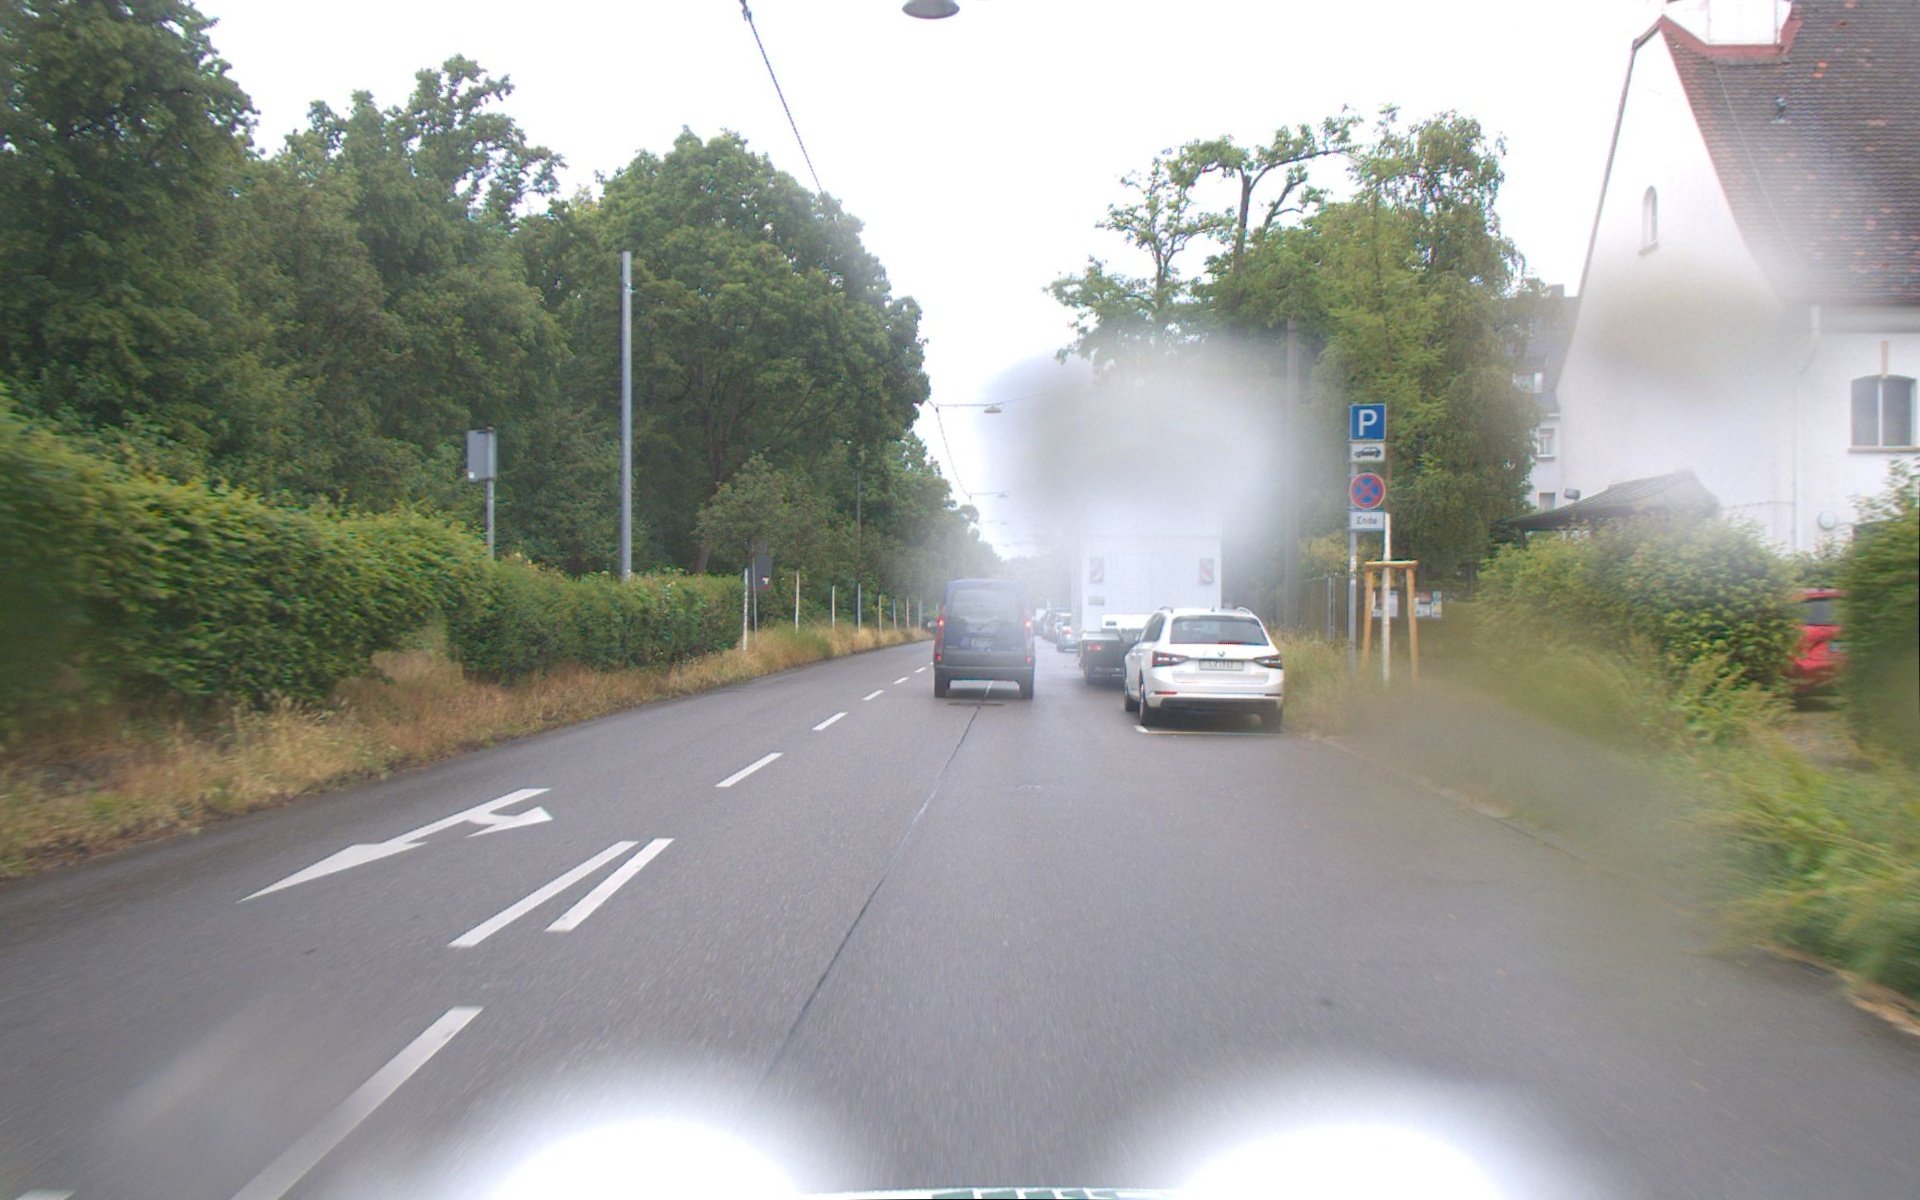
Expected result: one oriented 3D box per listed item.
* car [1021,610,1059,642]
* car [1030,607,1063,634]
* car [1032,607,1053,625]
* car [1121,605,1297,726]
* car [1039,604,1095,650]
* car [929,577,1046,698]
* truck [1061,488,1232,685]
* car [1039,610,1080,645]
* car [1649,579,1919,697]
[{"bbox_3d":[4.263,1.354,88.688,1.952,1.612,4.001,-1,0,2],"label":"car"},{"bbox_3d":[5.451,1.304,104.659,1.952,1.612,4.001,-1,0,2],"label":"car"},{"bbox_3d":[7.977,1.548,160.921,1.952,1.612,4.001,-1,0,2],"label":"car"},{"bbox_3d":[3.192,0.792,21.936,1.775,1.404,4.286,-1,0,1],"label":"car"},{"bbox_3d":[3.908,0.960,60.894,1.952,1.612,4.001,-1,0,2],"label":"car"},{"bbox_3d":[0.457,0.565,27.247,1.771,1.829,4.001,-1,0,1],"label":"car"},{"bbox_3d":[3.509,-0.250,32.702,2.675,3.446,6.686,-1,0,1],"label":"truck"},{"bbox_3d":[4.973,1.359,83.000,1.952,1.612,4.001,-1,0,2],"label":"car"},{"bbox_3d":[11.475,0.475,23.118,1.953,1.478,3.999,-1,0,-1],"label":"car"}]
